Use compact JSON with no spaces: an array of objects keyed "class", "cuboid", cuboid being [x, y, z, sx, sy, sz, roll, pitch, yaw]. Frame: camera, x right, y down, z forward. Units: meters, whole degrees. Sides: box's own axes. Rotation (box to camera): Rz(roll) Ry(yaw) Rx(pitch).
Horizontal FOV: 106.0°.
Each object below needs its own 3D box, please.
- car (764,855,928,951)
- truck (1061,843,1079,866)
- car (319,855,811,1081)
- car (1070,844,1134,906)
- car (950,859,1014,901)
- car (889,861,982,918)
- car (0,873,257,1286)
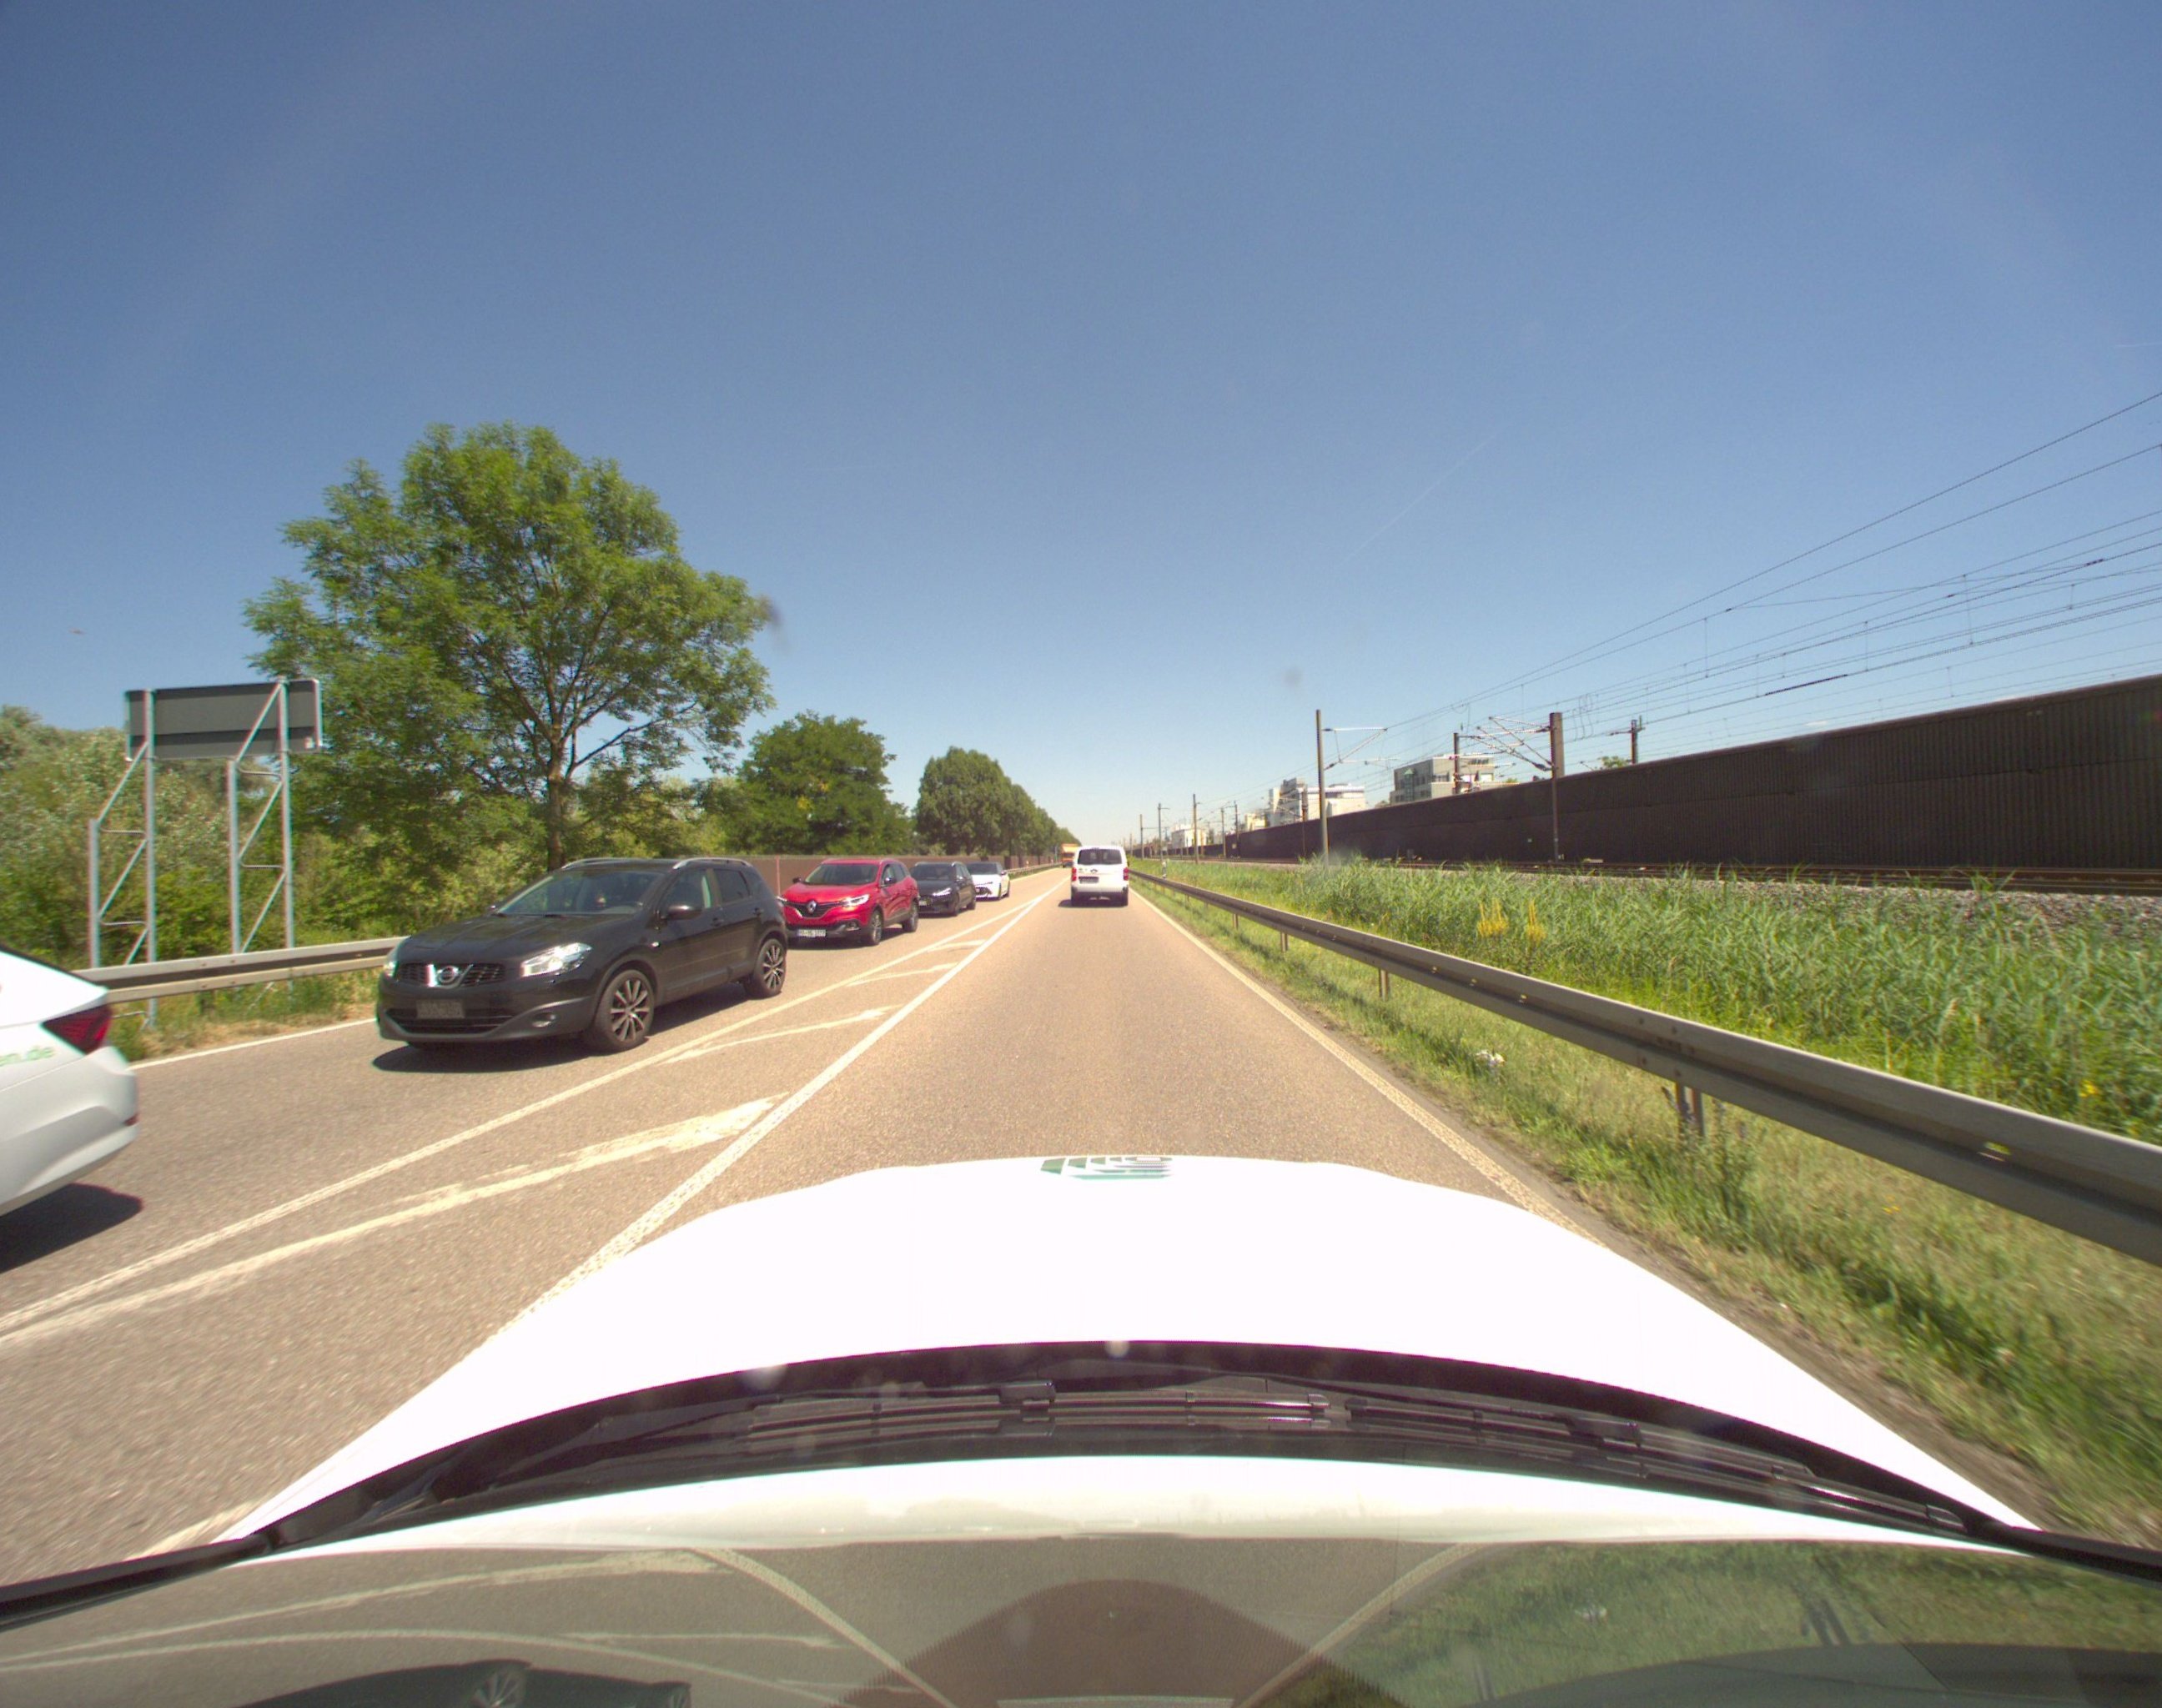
[{"class":"car","cuboid":[-4.490,0.854,16.286,1.748,1.631,4.283,-1,0,4]},{"class":"truck","cuboid":[-1.781,0.138,138.342,2.782,3.840,9.324,-1,0,1]},{"class":"car","cuboid":[-4.445,0.820,8.063,1.709,1.589,4.540,-1,0,4]},{"class":"car","cuboid":[0.682,0.680,27.508,1.939,1.881,4.881,-1,-1,1]},{"class":"car","cuboid":[-3.678,0.945,31.106,1.679,1.460,4.619,0,0,2]},{"class":"car","cuboid":[-4.071,0.937,23.490,1.679,1.460,4.618,0,0,2]},{"class":"car","cuboid":[-4.866,0.837,1.551,1.645,1.479,4.636,-1,0,5]}]
